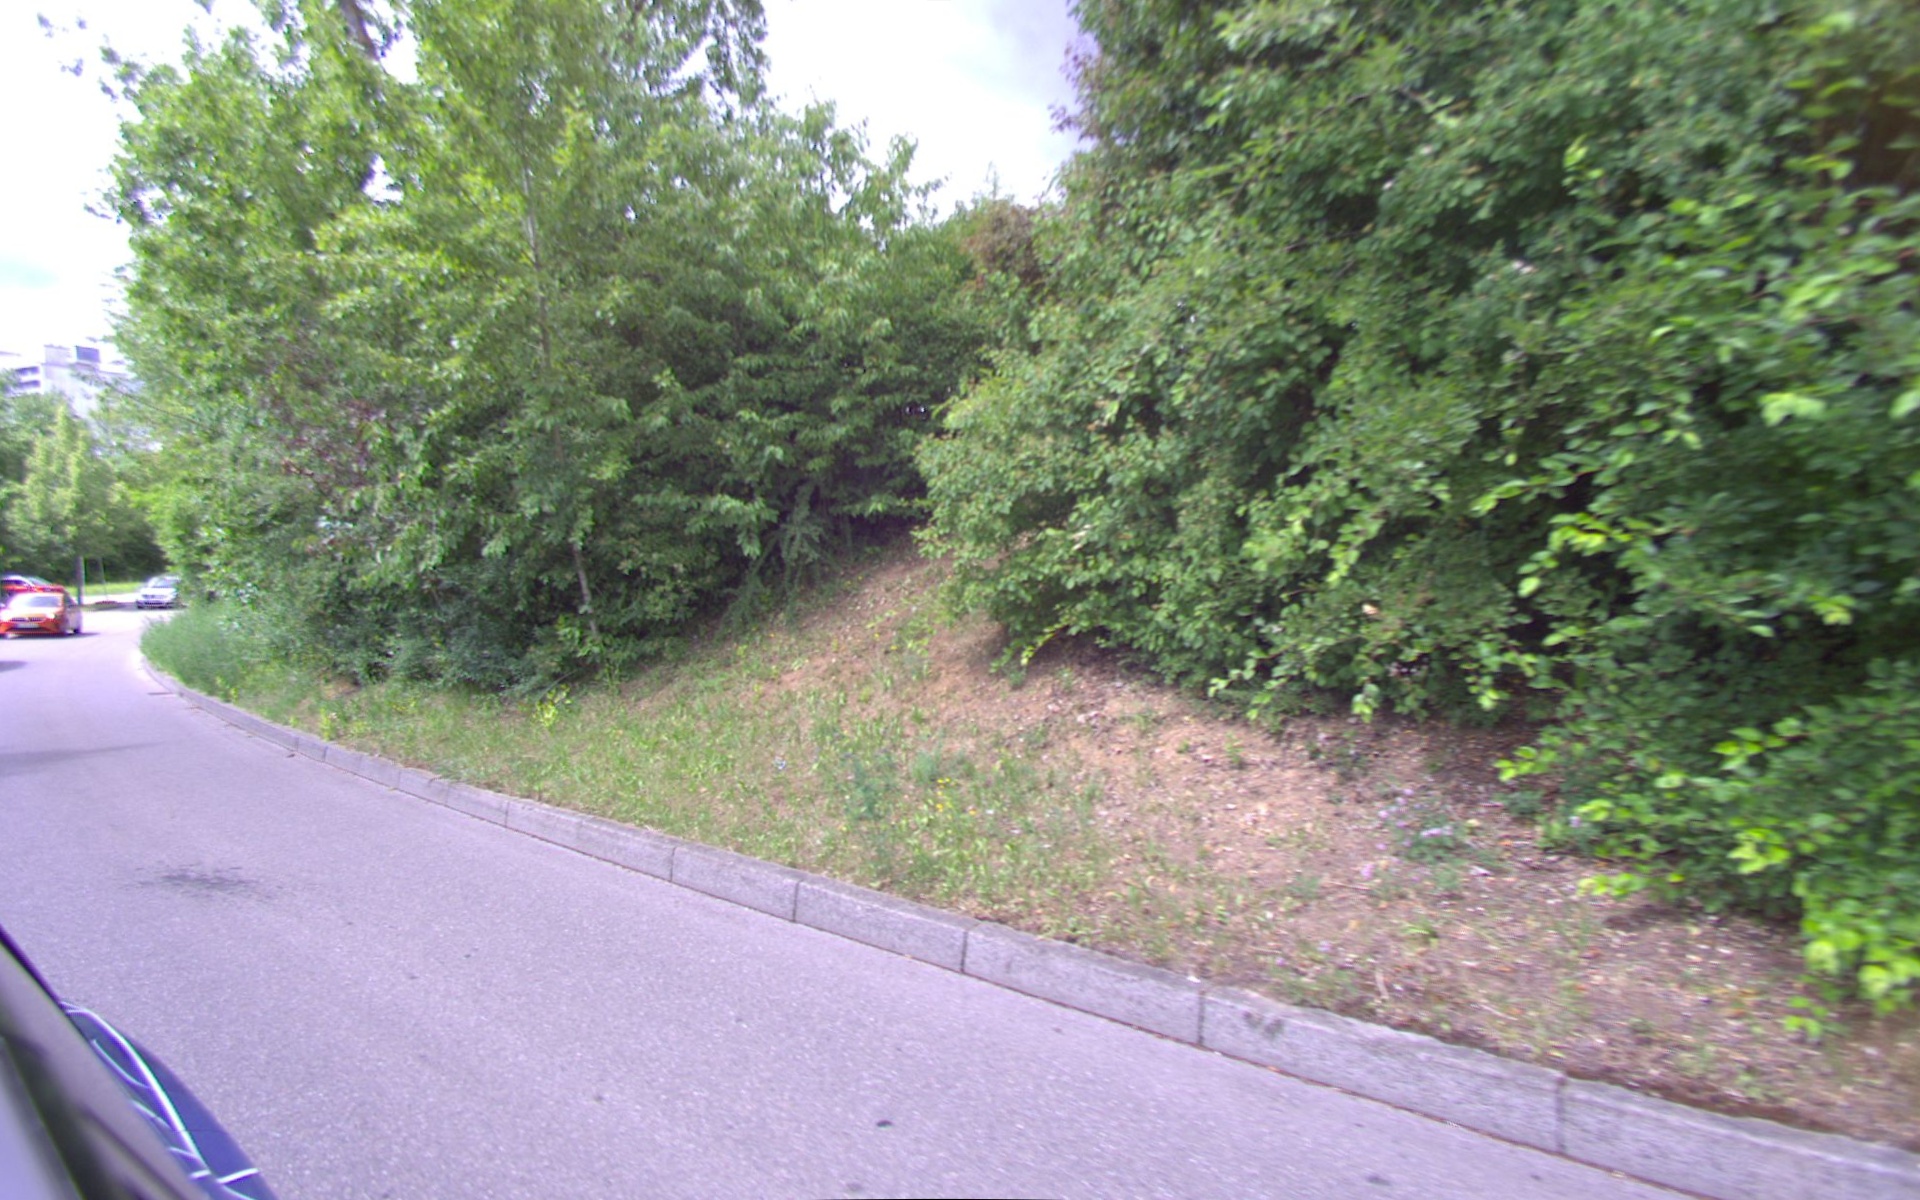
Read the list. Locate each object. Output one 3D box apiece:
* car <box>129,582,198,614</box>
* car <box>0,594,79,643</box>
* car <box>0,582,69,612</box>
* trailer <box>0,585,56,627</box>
[{"bbox_3d":[-40.822,-0.131,51.958,1.766,1.520,4.127,-2,1,-24],"label":"car"},{"bbox_3d":[-30.499,0.566,33.345,1.767,1.423,4.124,0,2,-35],"label":"car"},{"bbox_3d":[-50.609,-0.176,54.587,3.432,1.528,1.655,-1,3,-8],"label":"car"},{"bbox_3d":[-39.144,0.229,41.716,1.784,1.590,4.504,0,2,-28],"label":"trailer"}]
